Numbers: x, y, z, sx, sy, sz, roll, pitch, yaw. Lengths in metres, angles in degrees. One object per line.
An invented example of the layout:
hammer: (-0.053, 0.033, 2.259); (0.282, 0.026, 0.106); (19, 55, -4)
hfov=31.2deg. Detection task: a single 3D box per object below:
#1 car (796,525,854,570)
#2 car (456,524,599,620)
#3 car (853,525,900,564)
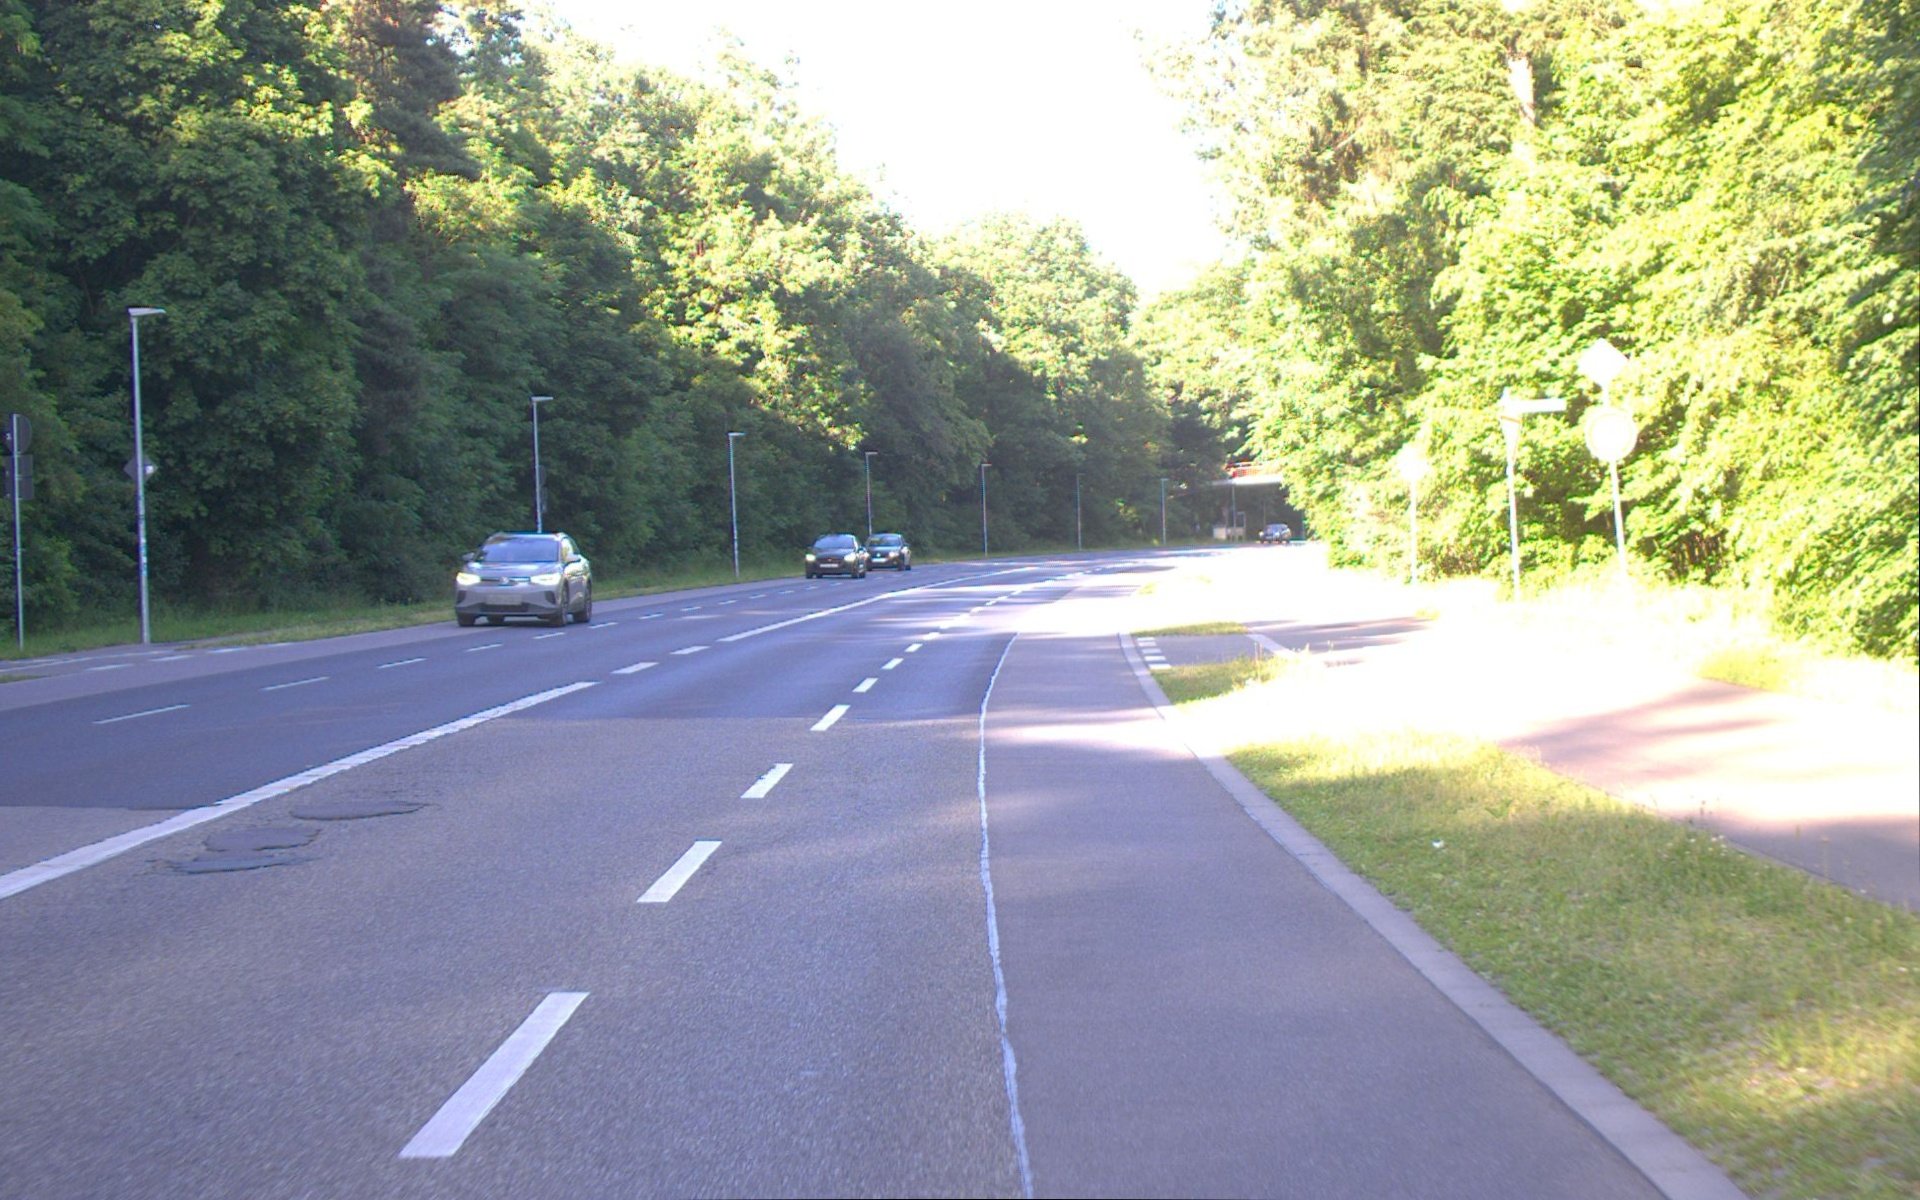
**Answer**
car: (-4.486, -1.755, 114.511); (1.738, 1.452, 3.999); (1, 1, 1)
car: (-7.574, -0.519, 60.546); (1.896, 1.605, 4.449); (1, 1, 1)
car: (-3.220, -2.157, 133.411); (1.657, 1.475, 4.173); (0, 1, 1)
